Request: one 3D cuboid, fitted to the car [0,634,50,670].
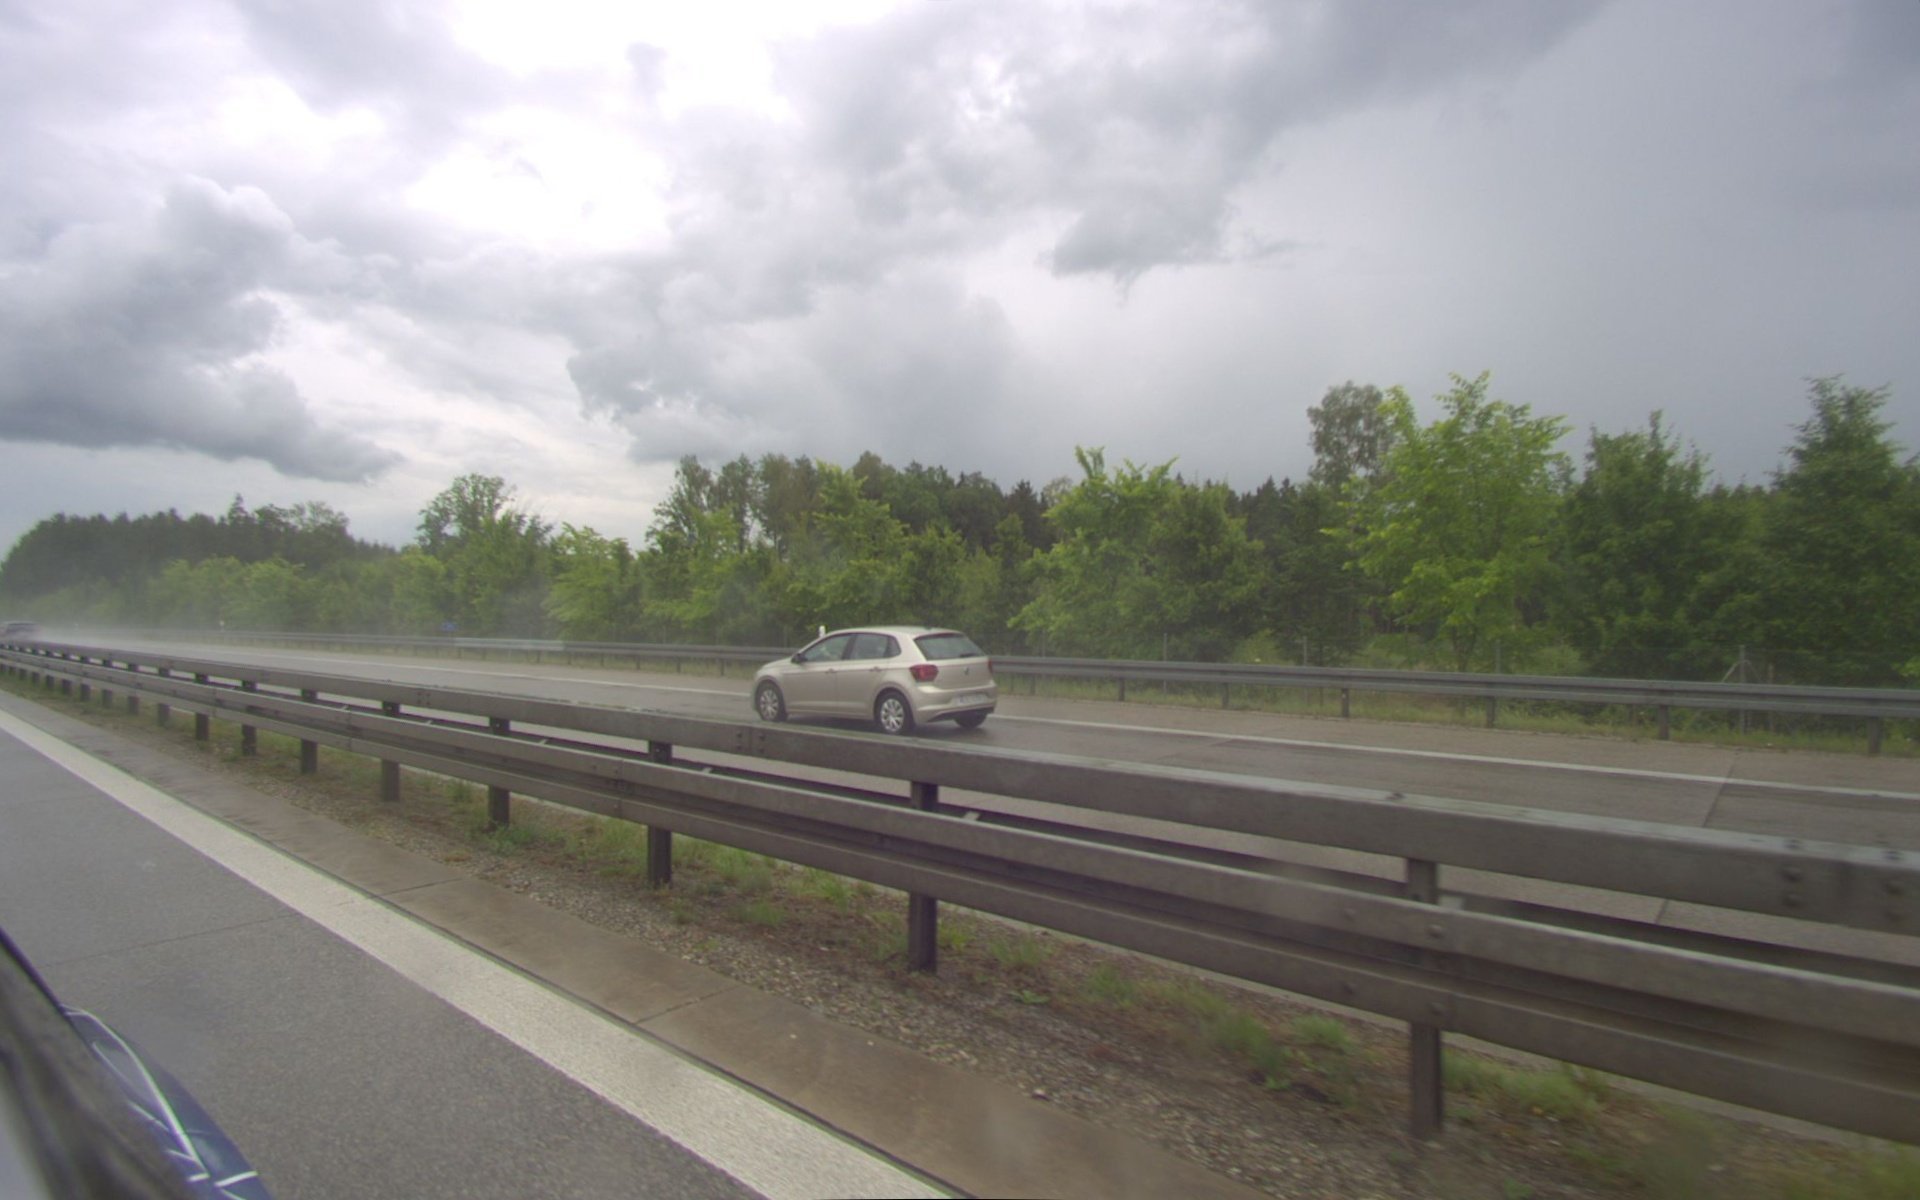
[{"bbox_3d":[-38.516,2.115,41.327,3.929,1.414,1.504,-2,-4,41],"label":"car"}]

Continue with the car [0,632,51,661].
[{"bbox_3d":[-48.316,2.363,52.288,3.928,1.414,1.504,-1,-2,41],"label":"car"}]

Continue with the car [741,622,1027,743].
[{"bbox_3d":[-1.144,1.074,14.123,3.915,1.446,1.731,-2,-4,41],"label":"car"}]
